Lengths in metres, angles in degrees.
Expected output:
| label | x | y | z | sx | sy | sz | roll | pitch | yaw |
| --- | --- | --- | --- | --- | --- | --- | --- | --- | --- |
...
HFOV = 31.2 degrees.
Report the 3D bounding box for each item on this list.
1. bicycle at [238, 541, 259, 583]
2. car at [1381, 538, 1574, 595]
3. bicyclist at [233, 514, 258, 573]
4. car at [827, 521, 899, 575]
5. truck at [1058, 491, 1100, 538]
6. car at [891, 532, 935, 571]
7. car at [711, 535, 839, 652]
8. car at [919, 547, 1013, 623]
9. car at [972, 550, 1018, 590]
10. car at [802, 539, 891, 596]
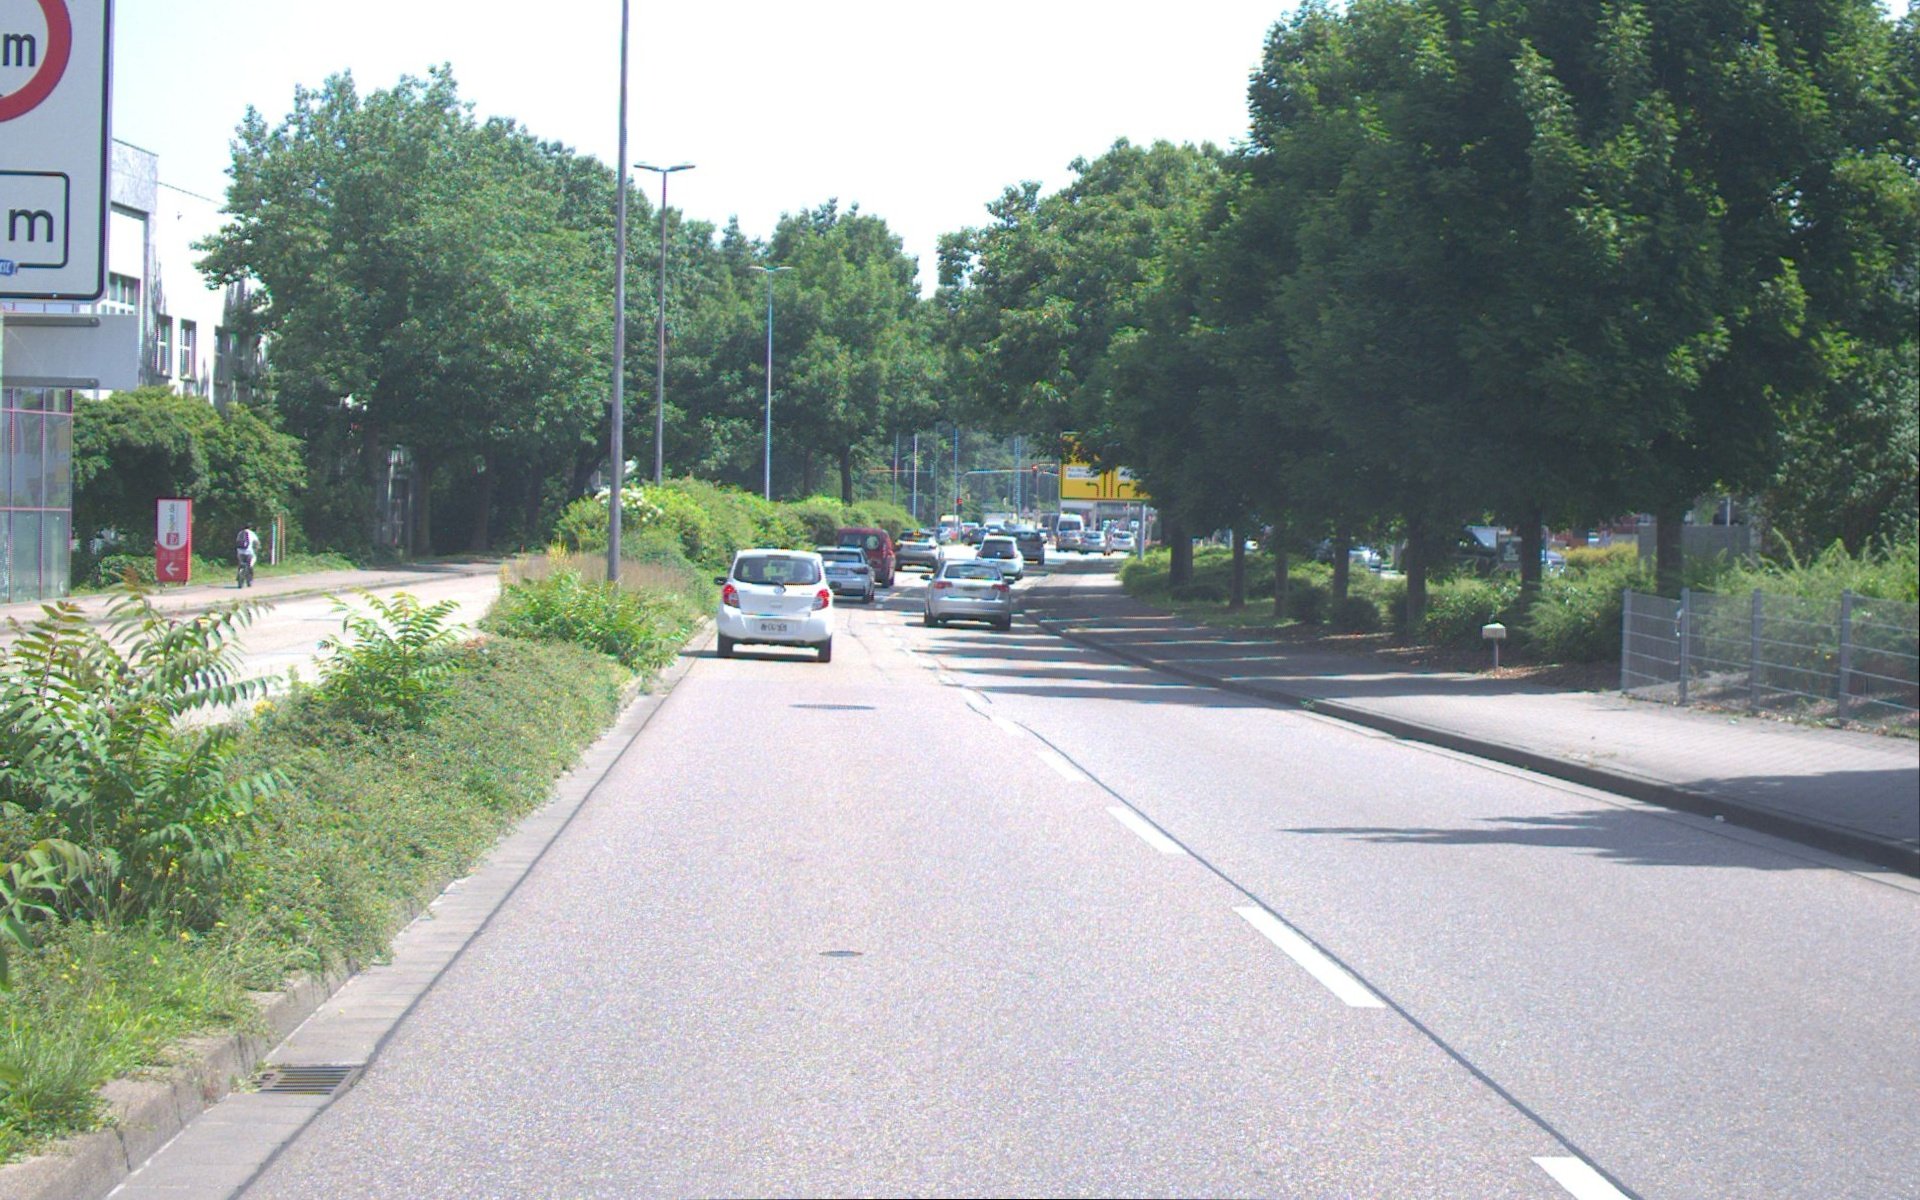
| label | x | y | z | sx | sy | sz | roll | pitch | yaw |
| --- | --- | --- | --- | --- | --- | --- | --- | --- | --- |
| bicycle | -18.234 | -0.969 | 88.119 | 0.346 | 1.064 | 0.923 | -1 | 1 | -2 |
| car | 12.659 | -0.843 | 84.335 | 1.947 | 1.347 | 4.715 | -1 | 1 | -36 |
| bicyclist | -18.265 | -1.442 | 87.881 | 0.545 | 1.504 | 0.343 | -1 | 1 | -2 |
| car | -2.935 | -1.588 | 104.553 | 1.885 | 1.603 | 4.000 | 0 | 1 | 3 |
| truck | 9.097 | -6.502 | 261.277 | 2.932 | 3.490 | 9.157 | 1 | 2 | 3 |
| car | -1.743 | -1.794 | 126.593 | 1.487 | 1.387 | 3.308 | 2 | 1 | -2 |
| car | -2.601 | -0.126 | 48.790 | 1.638 | 1.546 | 3.325 | 2 | 1 | -1 |
| car | 0.139 | -0.335 | 72.345 | 1.866 | 1.468 | 4.000 | 2 | 1 | 1 |
| car | 1.202 | -1.061 | 119.617 | 1.441 | 1.343 | 3.460 | 0 | 1 | -2 |
| car | -2.861 | -0.838 | 87.392 | 1.885 | 1.349 | 4.000 | 2 | 1 | 3 |
